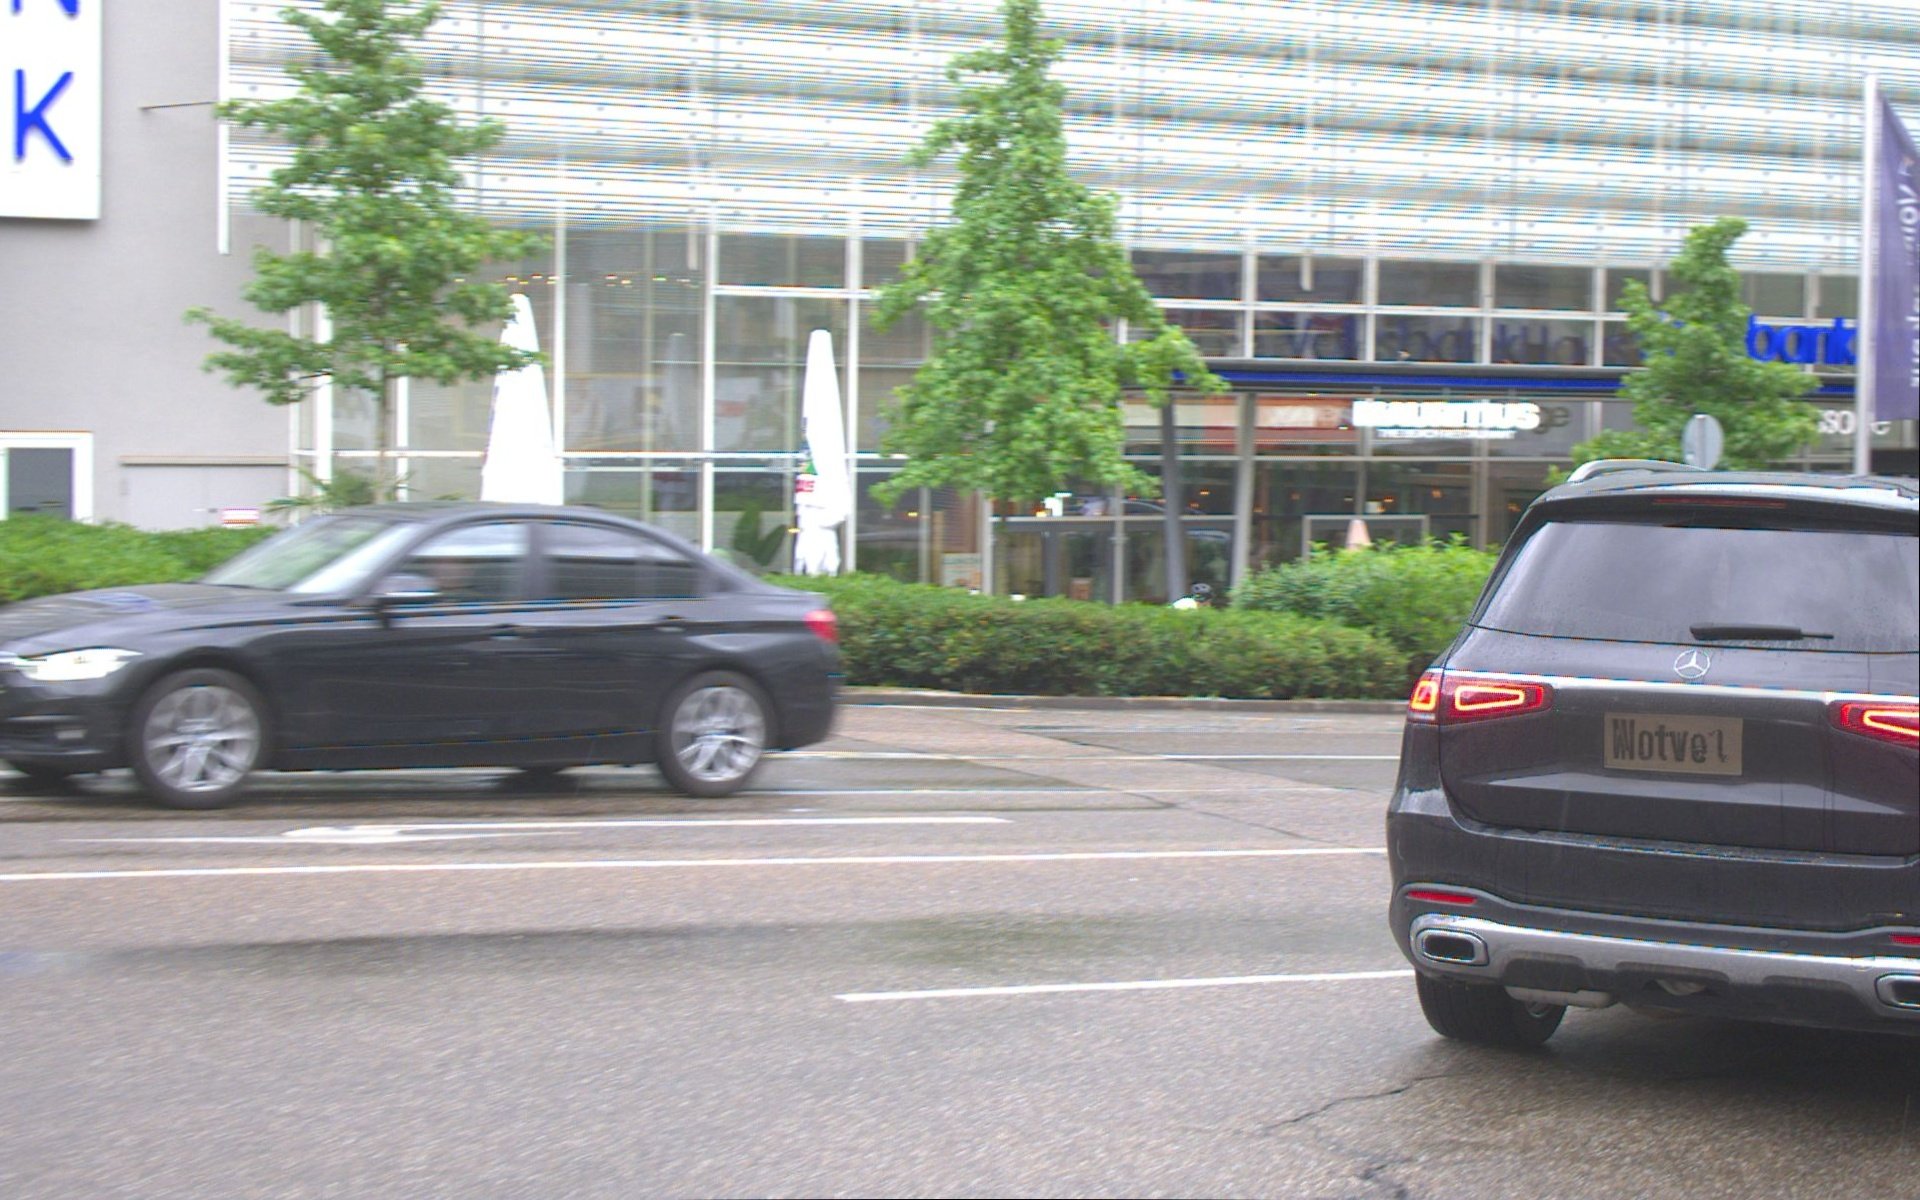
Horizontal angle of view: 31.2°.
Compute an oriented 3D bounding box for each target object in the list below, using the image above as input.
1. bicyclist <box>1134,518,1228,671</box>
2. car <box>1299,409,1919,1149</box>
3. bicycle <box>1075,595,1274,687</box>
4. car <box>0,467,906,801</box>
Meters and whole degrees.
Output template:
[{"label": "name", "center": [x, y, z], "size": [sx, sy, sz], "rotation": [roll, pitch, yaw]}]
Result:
[{"label": "bicyclist", "center": [2.490, -0.067, 38.758], "size": [0.844, 1.698, 0.623], "rotation": [0, 2, -24]}, {"label": "car", "center": [3.010, 0.468, 11.110], "size": [2.091, 1.811, 4.785], "rotation": [4, 1, 27]}, {"label": "bicycle", "center": [2.420, 0.457, 38.749], "size": [2.137, 0.989, 0.694], "rotation": [0, 2, -25]}, {"label": "car", "center": [-2.740, 0.156, 16.879], "size": [4.619, 1.420, 2.000], "rotation": [2, 2, -38]}]
